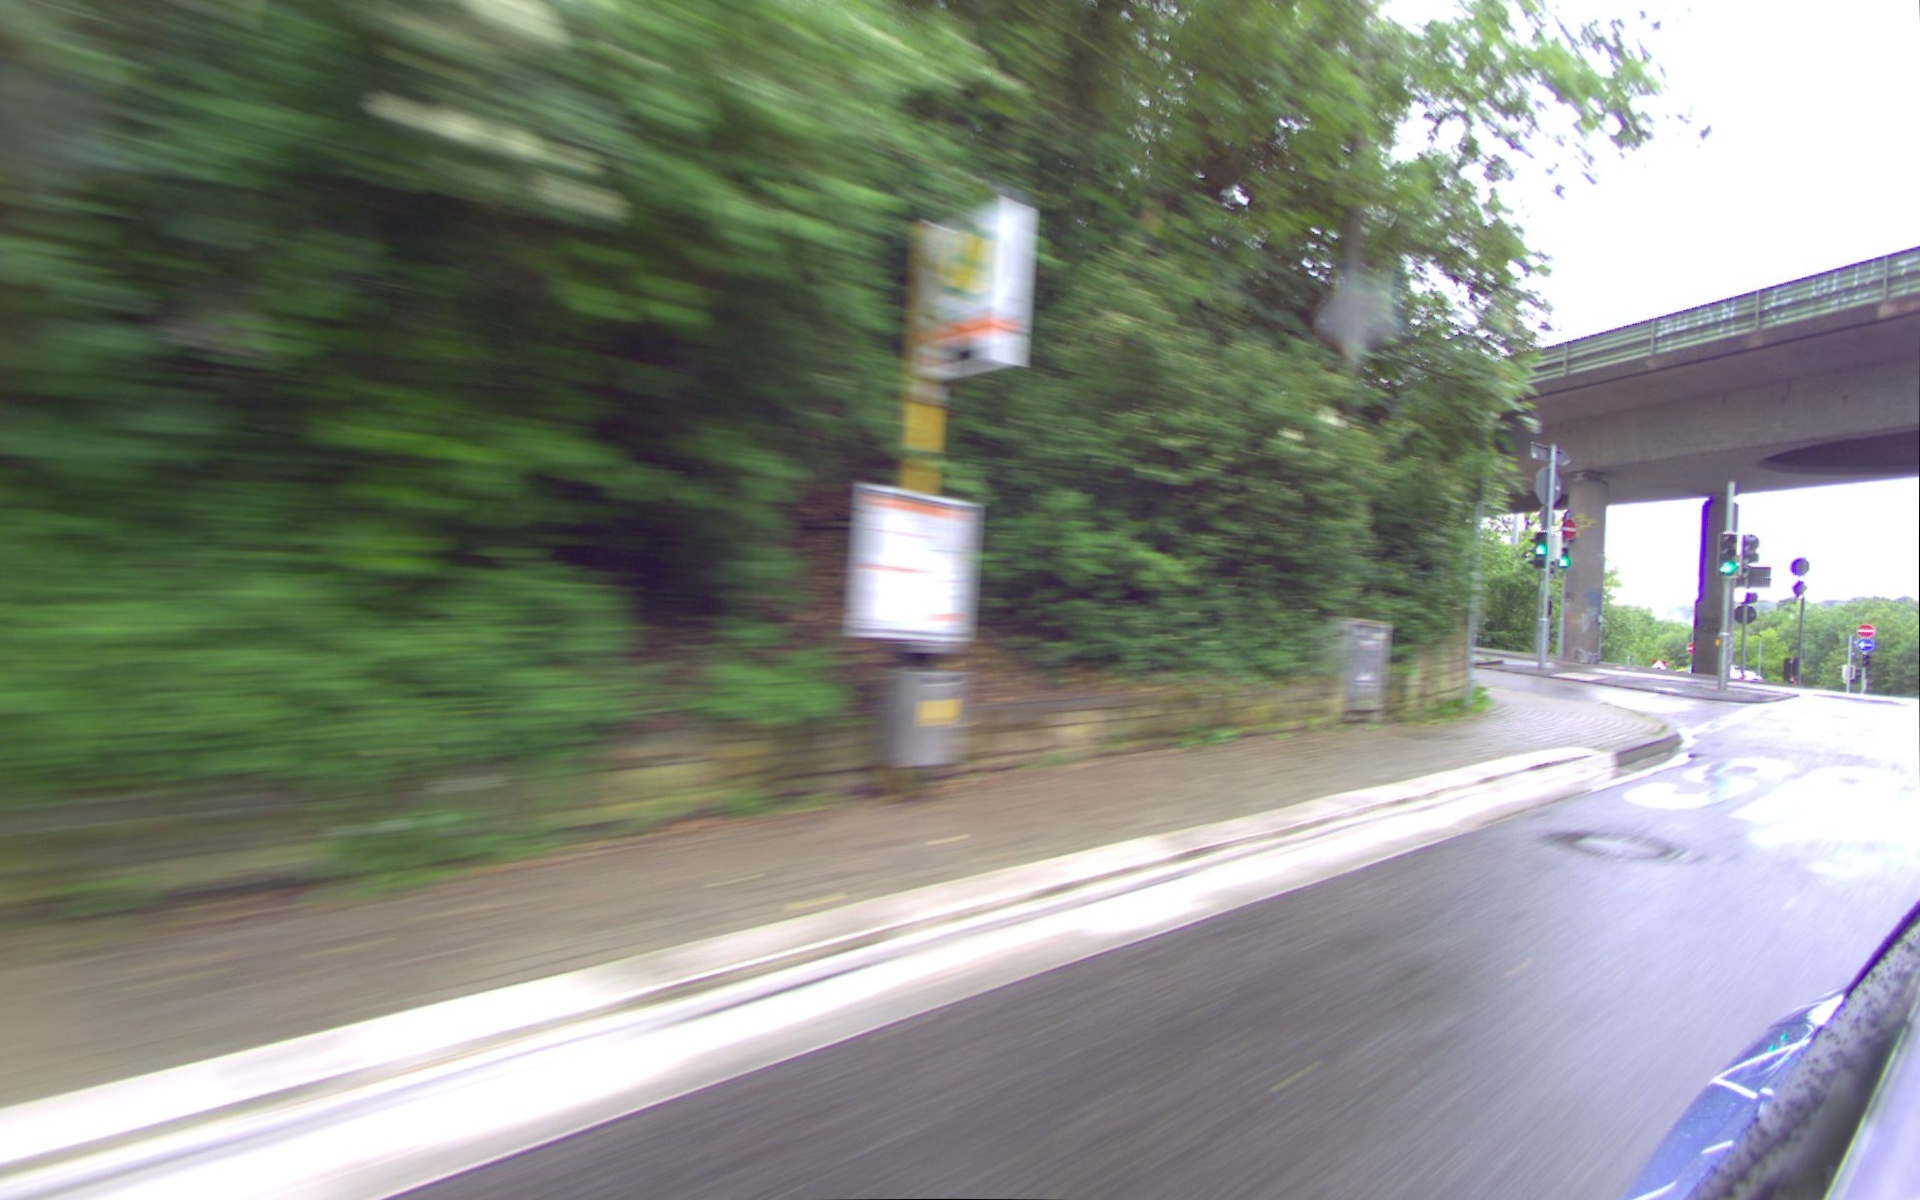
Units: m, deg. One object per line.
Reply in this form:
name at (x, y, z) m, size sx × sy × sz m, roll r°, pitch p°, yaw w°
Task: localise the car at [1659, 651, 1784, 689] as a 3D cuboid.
car at (32.986, 2.989, 43.973) m, size 1.731 × 1.327 × 4.008 m, roll 0°, pitch 0°, yaw -21°
